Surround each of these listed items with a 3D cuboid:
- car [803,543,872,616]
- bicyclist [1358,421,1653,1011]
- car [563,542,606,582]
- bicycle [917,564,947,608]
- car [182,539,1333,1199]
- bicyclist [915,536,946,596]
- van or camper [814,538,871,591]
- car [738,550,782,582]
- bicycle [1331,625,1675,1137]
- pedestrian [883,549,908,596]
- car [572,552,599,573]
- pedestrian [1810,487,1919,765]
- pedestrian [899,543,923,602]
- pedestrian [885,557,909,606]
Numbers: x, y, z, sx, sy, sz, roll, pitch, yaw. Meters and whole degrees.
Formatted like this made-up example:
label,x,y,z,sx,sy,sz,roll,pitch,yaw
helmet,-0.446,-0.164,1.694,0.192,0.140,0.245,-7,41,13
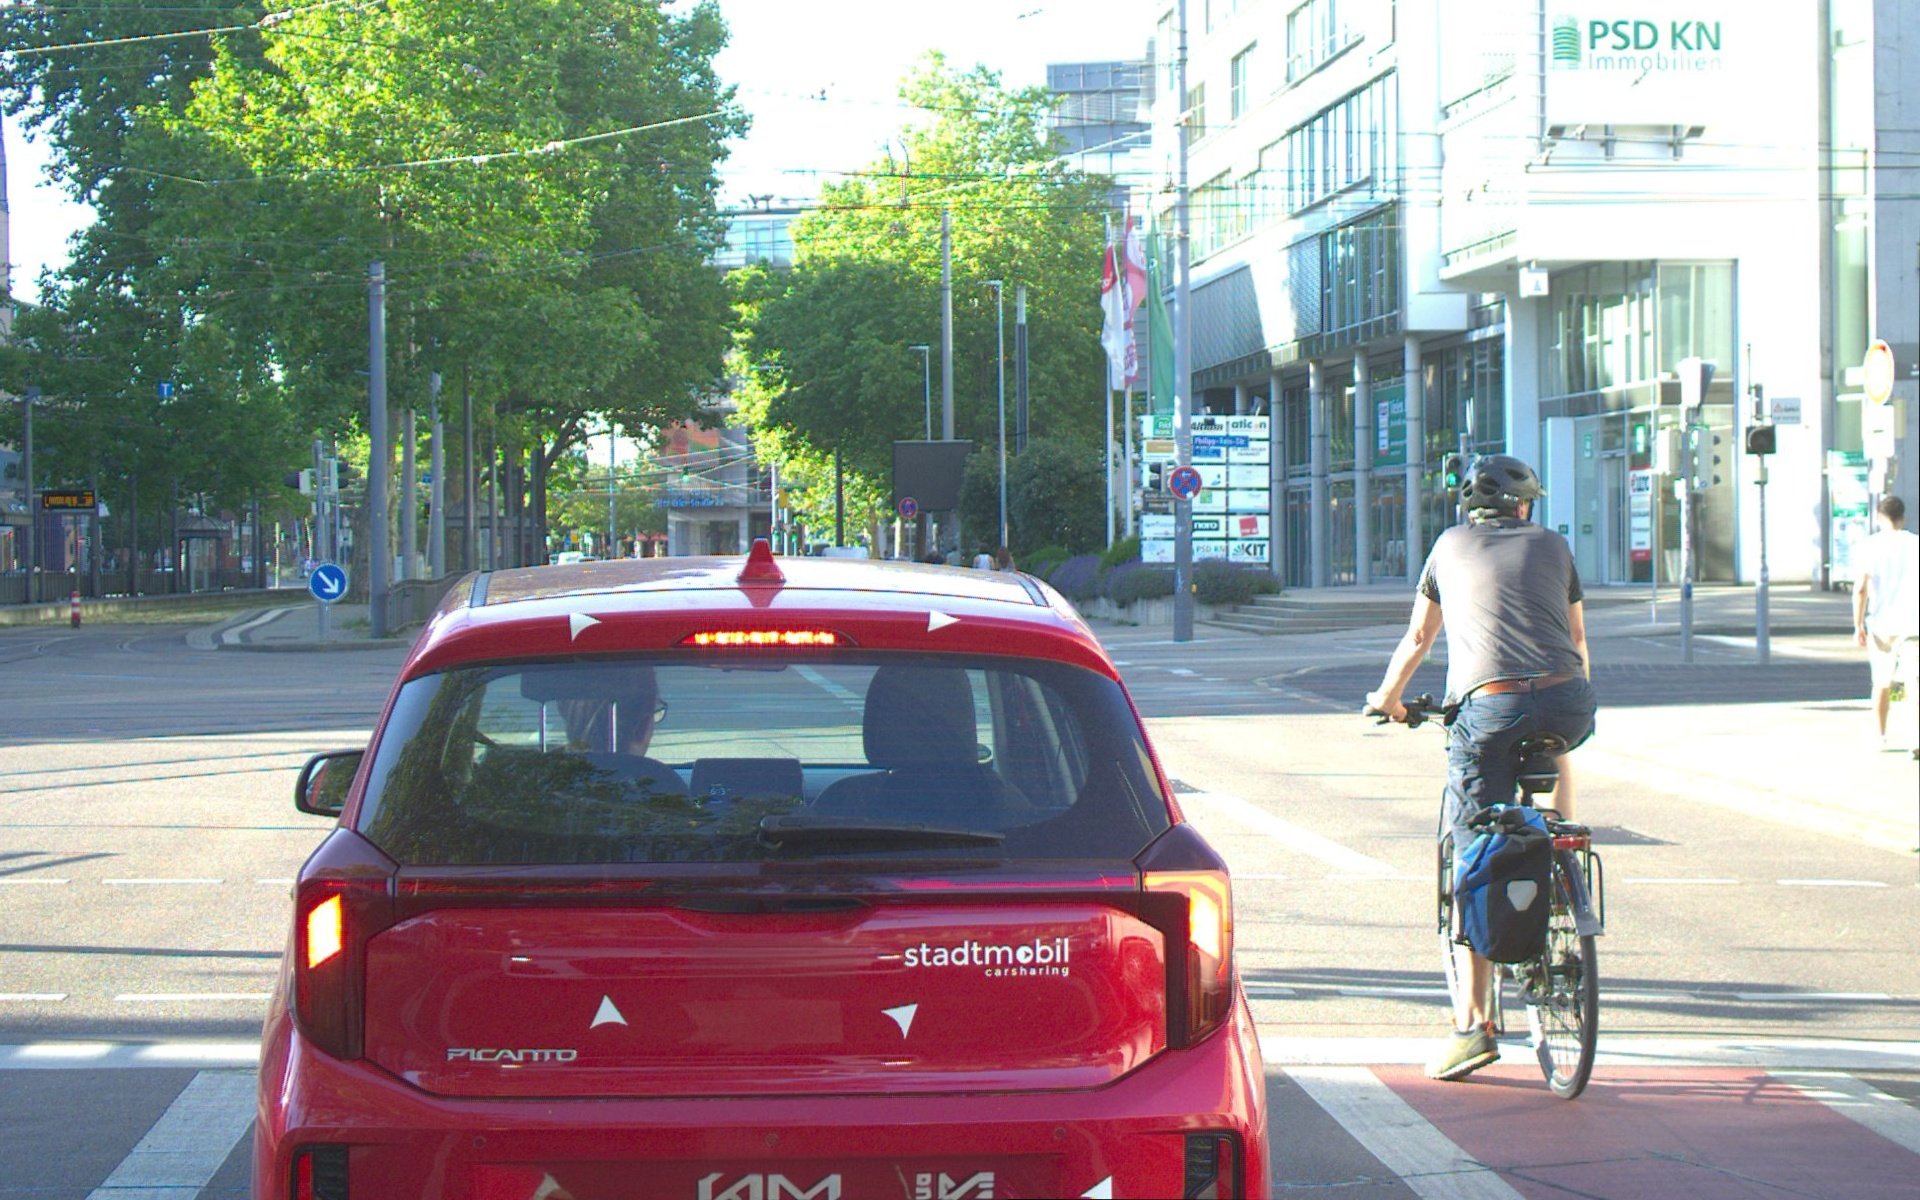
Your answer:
label,x,y,z,sx,sy,sz,roll,pitch,yaw
car,-3.095,-0.536,86.499,1.635,1.794,3.330,-1,1,-3
bicyclist,1.546,0.307,9.893,0.650,1.597,1.089,-1,1,-1
car,-19.186,-1.938,175.515,1.993,2.007,4.001,-1,1,-8
bicycle,-0.765,-0.388,93.029,0.696,1.094,1.751,-4,2,-2
car,-0.428,0.654,6.539,1.613,1.529,3.412,0,1,-5
bicyclist,-0.799,-0.920,93.056,0.722,1.597,1.089,-3,1,-1
van or camper,-4.544,-1.375,132.298,1.993,1.982,4.745,0,1,-4
car,-9.780,-1.667,168.112,1.777,1.529,3.513,0,1,-10
bicycle,1.518,0.738,9.923,0.650,1.276,1.966,-1,1,-1
pedestrian,-2.395,-1.031,127.937,0.891,1.747,0.841,-1,1,-1
car,-27.851,-2.829,255.838,1.777,1.529,3.413,0,1,-10
pedestrian,6.253,0.156,23.122,0.777,1.817,1.216,-1,1,1
pedestrian,-1.377,-0.780,97.461,0.646,1.674,0.651,-1,1,0
pedestrian,-2.129,-0.628,115.883,0.642,1.574,0.723,-4,1,-4
